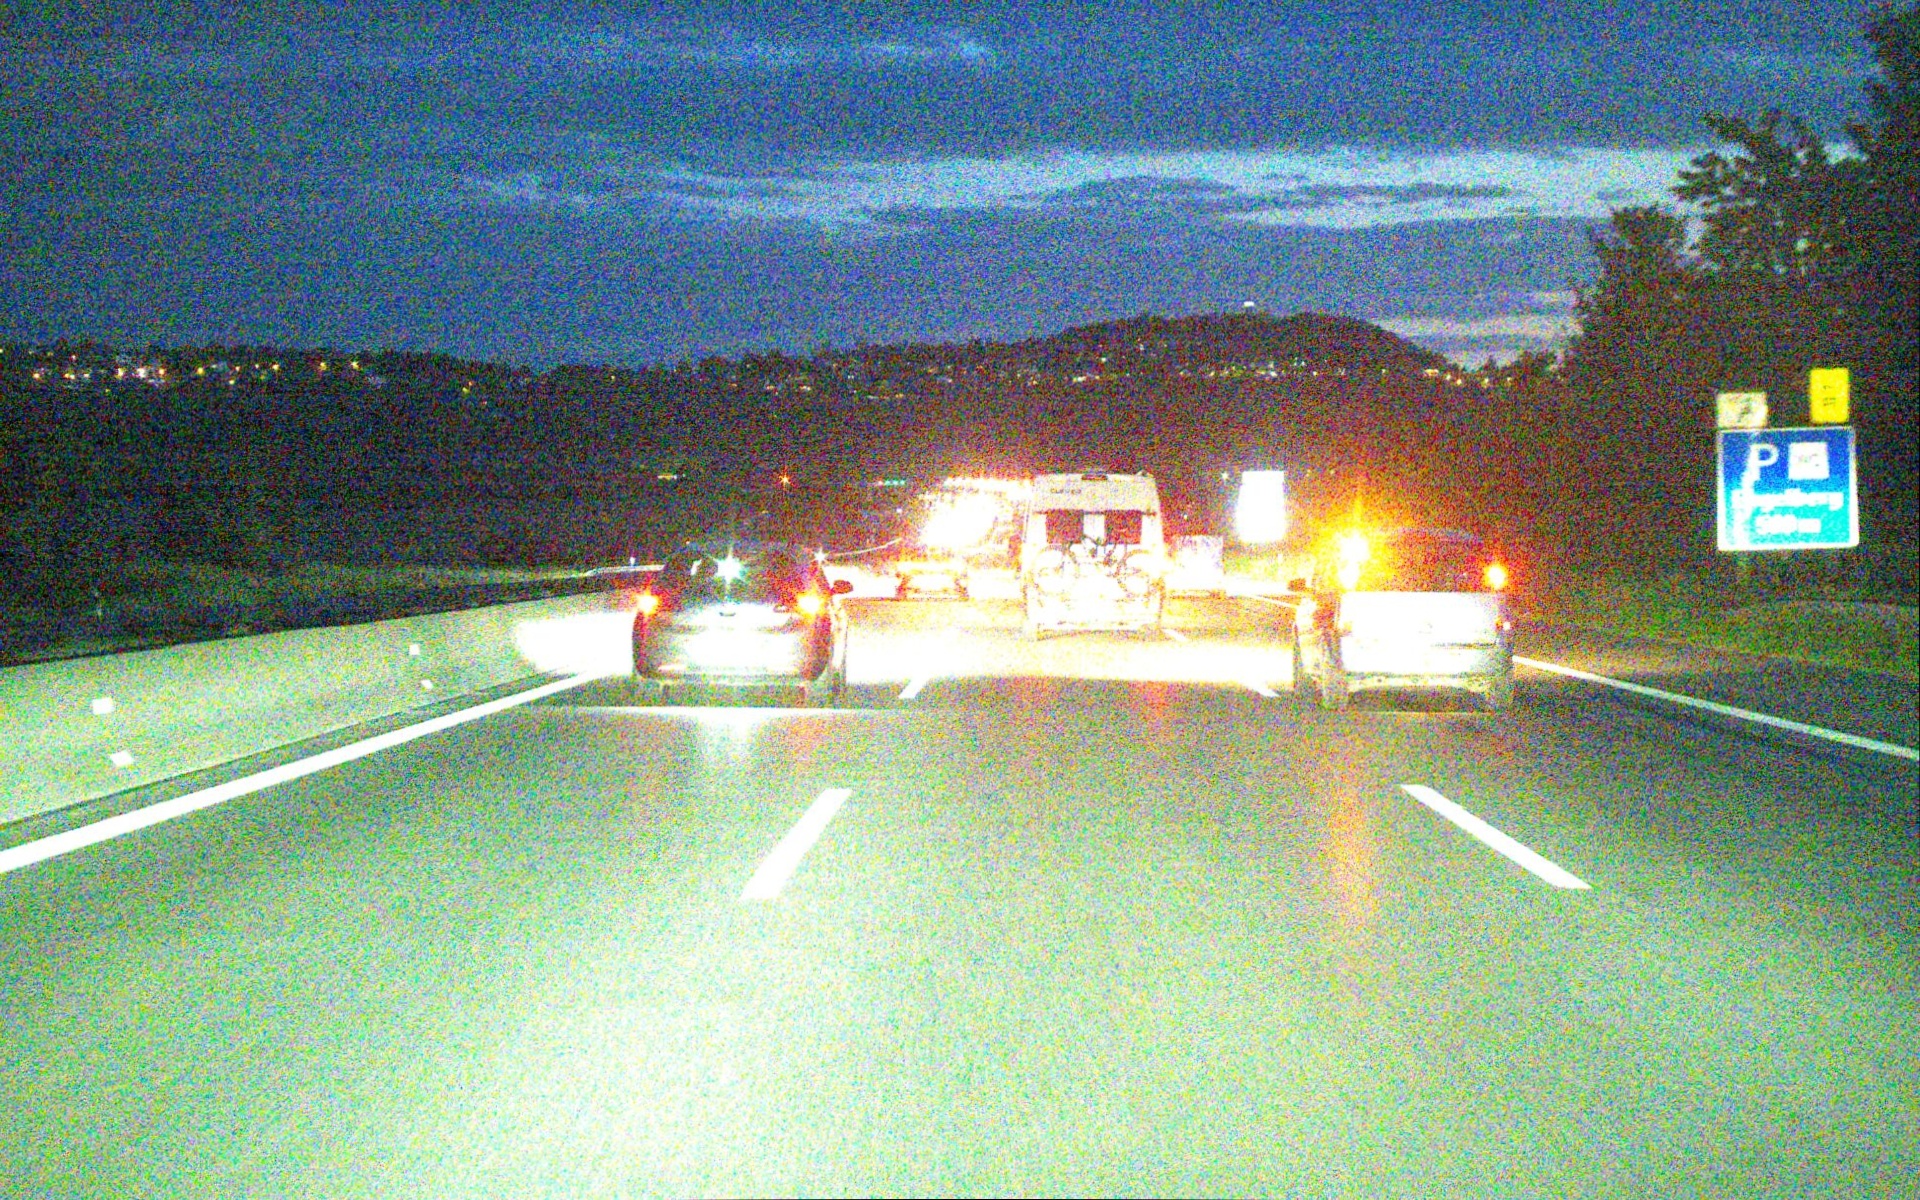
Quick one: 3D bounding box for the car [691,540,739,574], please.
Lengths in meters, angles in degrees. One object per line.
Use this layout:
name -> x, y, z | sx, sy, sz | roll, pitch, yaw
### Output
car -> -12.323, -2.182, 173.390 | 1.903, 1.637, 5.298 | -1, 1, 1

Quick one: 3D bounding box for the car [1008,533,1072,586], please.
car -> 3.024, -1.534, 129.655 | 2.351, 1.907, 4.723 | -1, 1, 1

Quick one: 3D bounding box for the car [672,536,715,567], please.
car -> -15.808, -2.879, 204.130 | 2.045, 1.714, 4.775 | -3, 1, 1

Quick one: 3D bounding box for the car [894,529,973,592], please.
car -> -0.616, -0.983, 83.293 | 1.745, 1.435, 4.367 | -1, 1, 1

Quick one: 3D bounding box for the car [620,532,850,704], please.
car -> -2.016, 0.116, 31.778 | 1.794, 1.464, 3.773 | 0, 1, 1

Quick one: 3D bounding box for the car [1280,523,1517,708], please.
car -> 3.995, 0.097, 31.967 | 1.646, 1.591, 4.510 | 0, 1, 0

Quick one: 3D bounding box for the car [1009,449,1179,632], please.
car -> 1.954, -0.913, 51.218 | 2.351, 2.526, 5.701 | -1, 1, 1

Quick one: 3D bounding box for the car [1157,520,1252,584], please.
car -> 6.148, -1.221, 86.732 | 2.163, 1.558, 4.723 | 0, 1, 1
